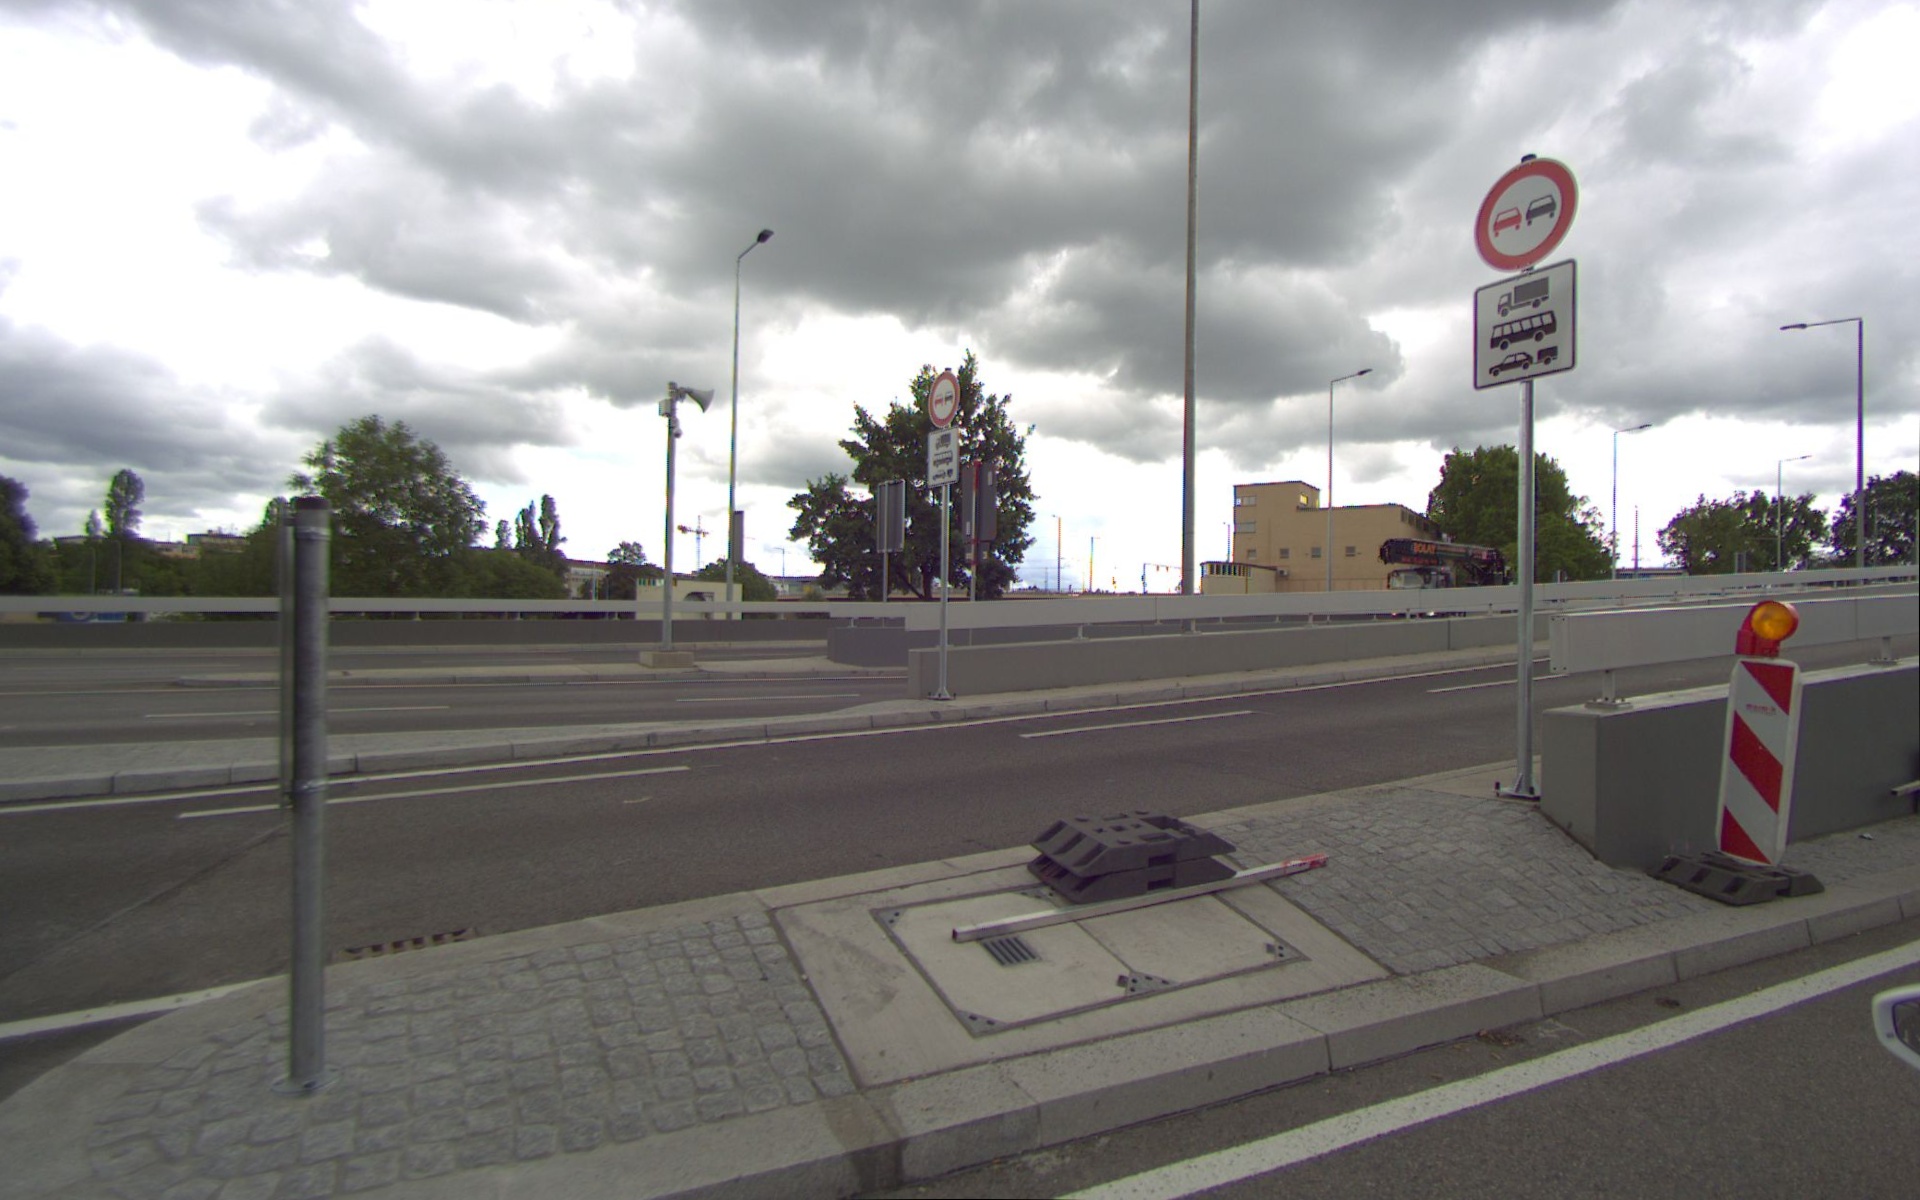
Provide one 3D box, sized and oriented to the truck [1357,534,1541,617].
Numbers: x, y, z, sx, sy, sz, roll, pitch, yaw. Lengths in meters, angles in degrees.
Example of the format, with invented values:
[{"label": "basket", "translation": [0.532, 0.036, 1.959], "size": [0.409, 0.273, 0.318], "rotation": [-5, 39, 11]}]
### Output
[{"label": "truck", "translation": [22.303, -1.162, 45.473], "size": [10.511, 3.436, 2.714], "rotation": [-2, 3, -35]}]
